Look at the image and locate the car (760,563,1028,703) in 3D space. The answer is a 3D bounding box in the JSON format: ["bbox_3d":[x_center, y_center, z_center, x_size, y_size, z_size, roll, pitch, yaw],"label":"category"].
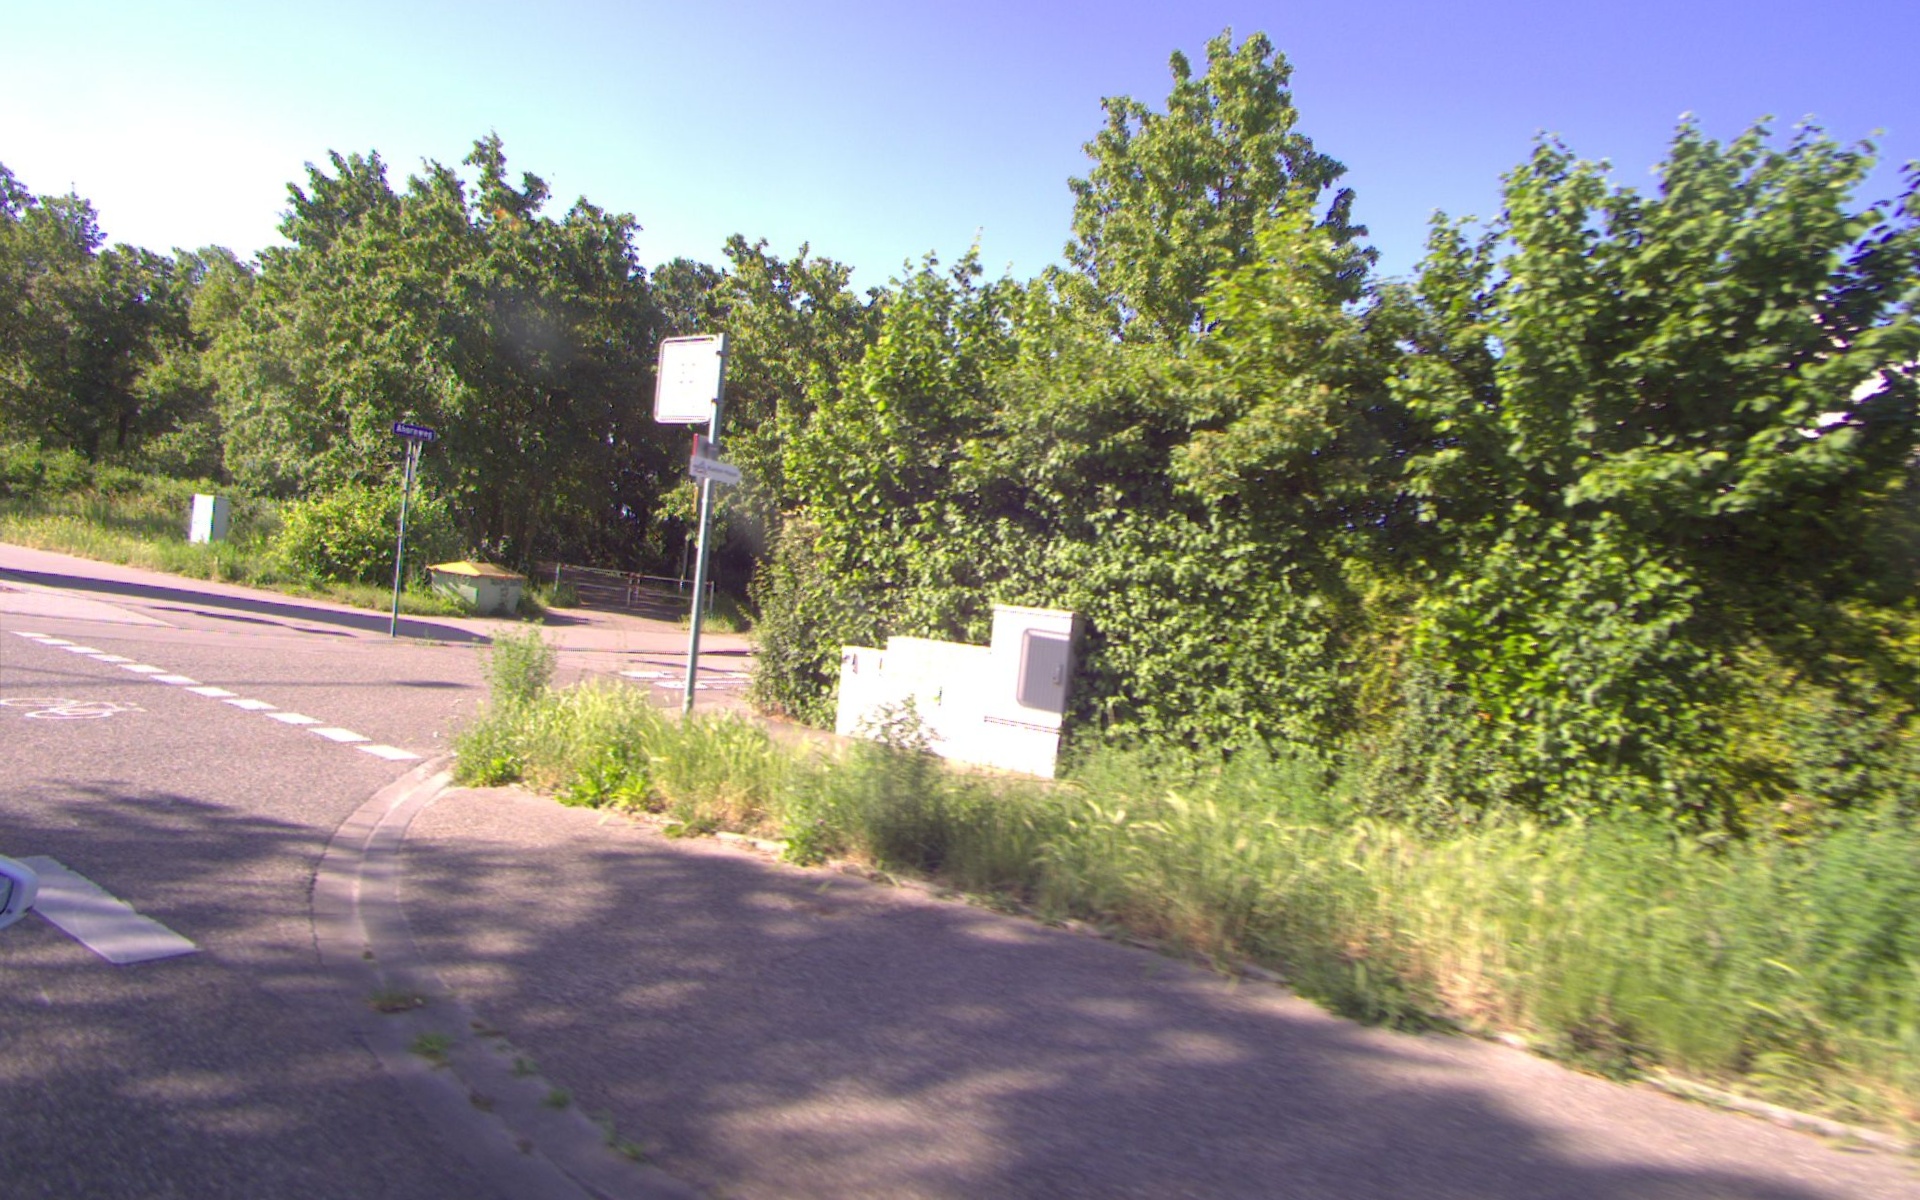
[{"bbox_3d":[-0.920,0.630,16.882,1.901,1.824,4.634,9,1,33],"label":"car"}]
